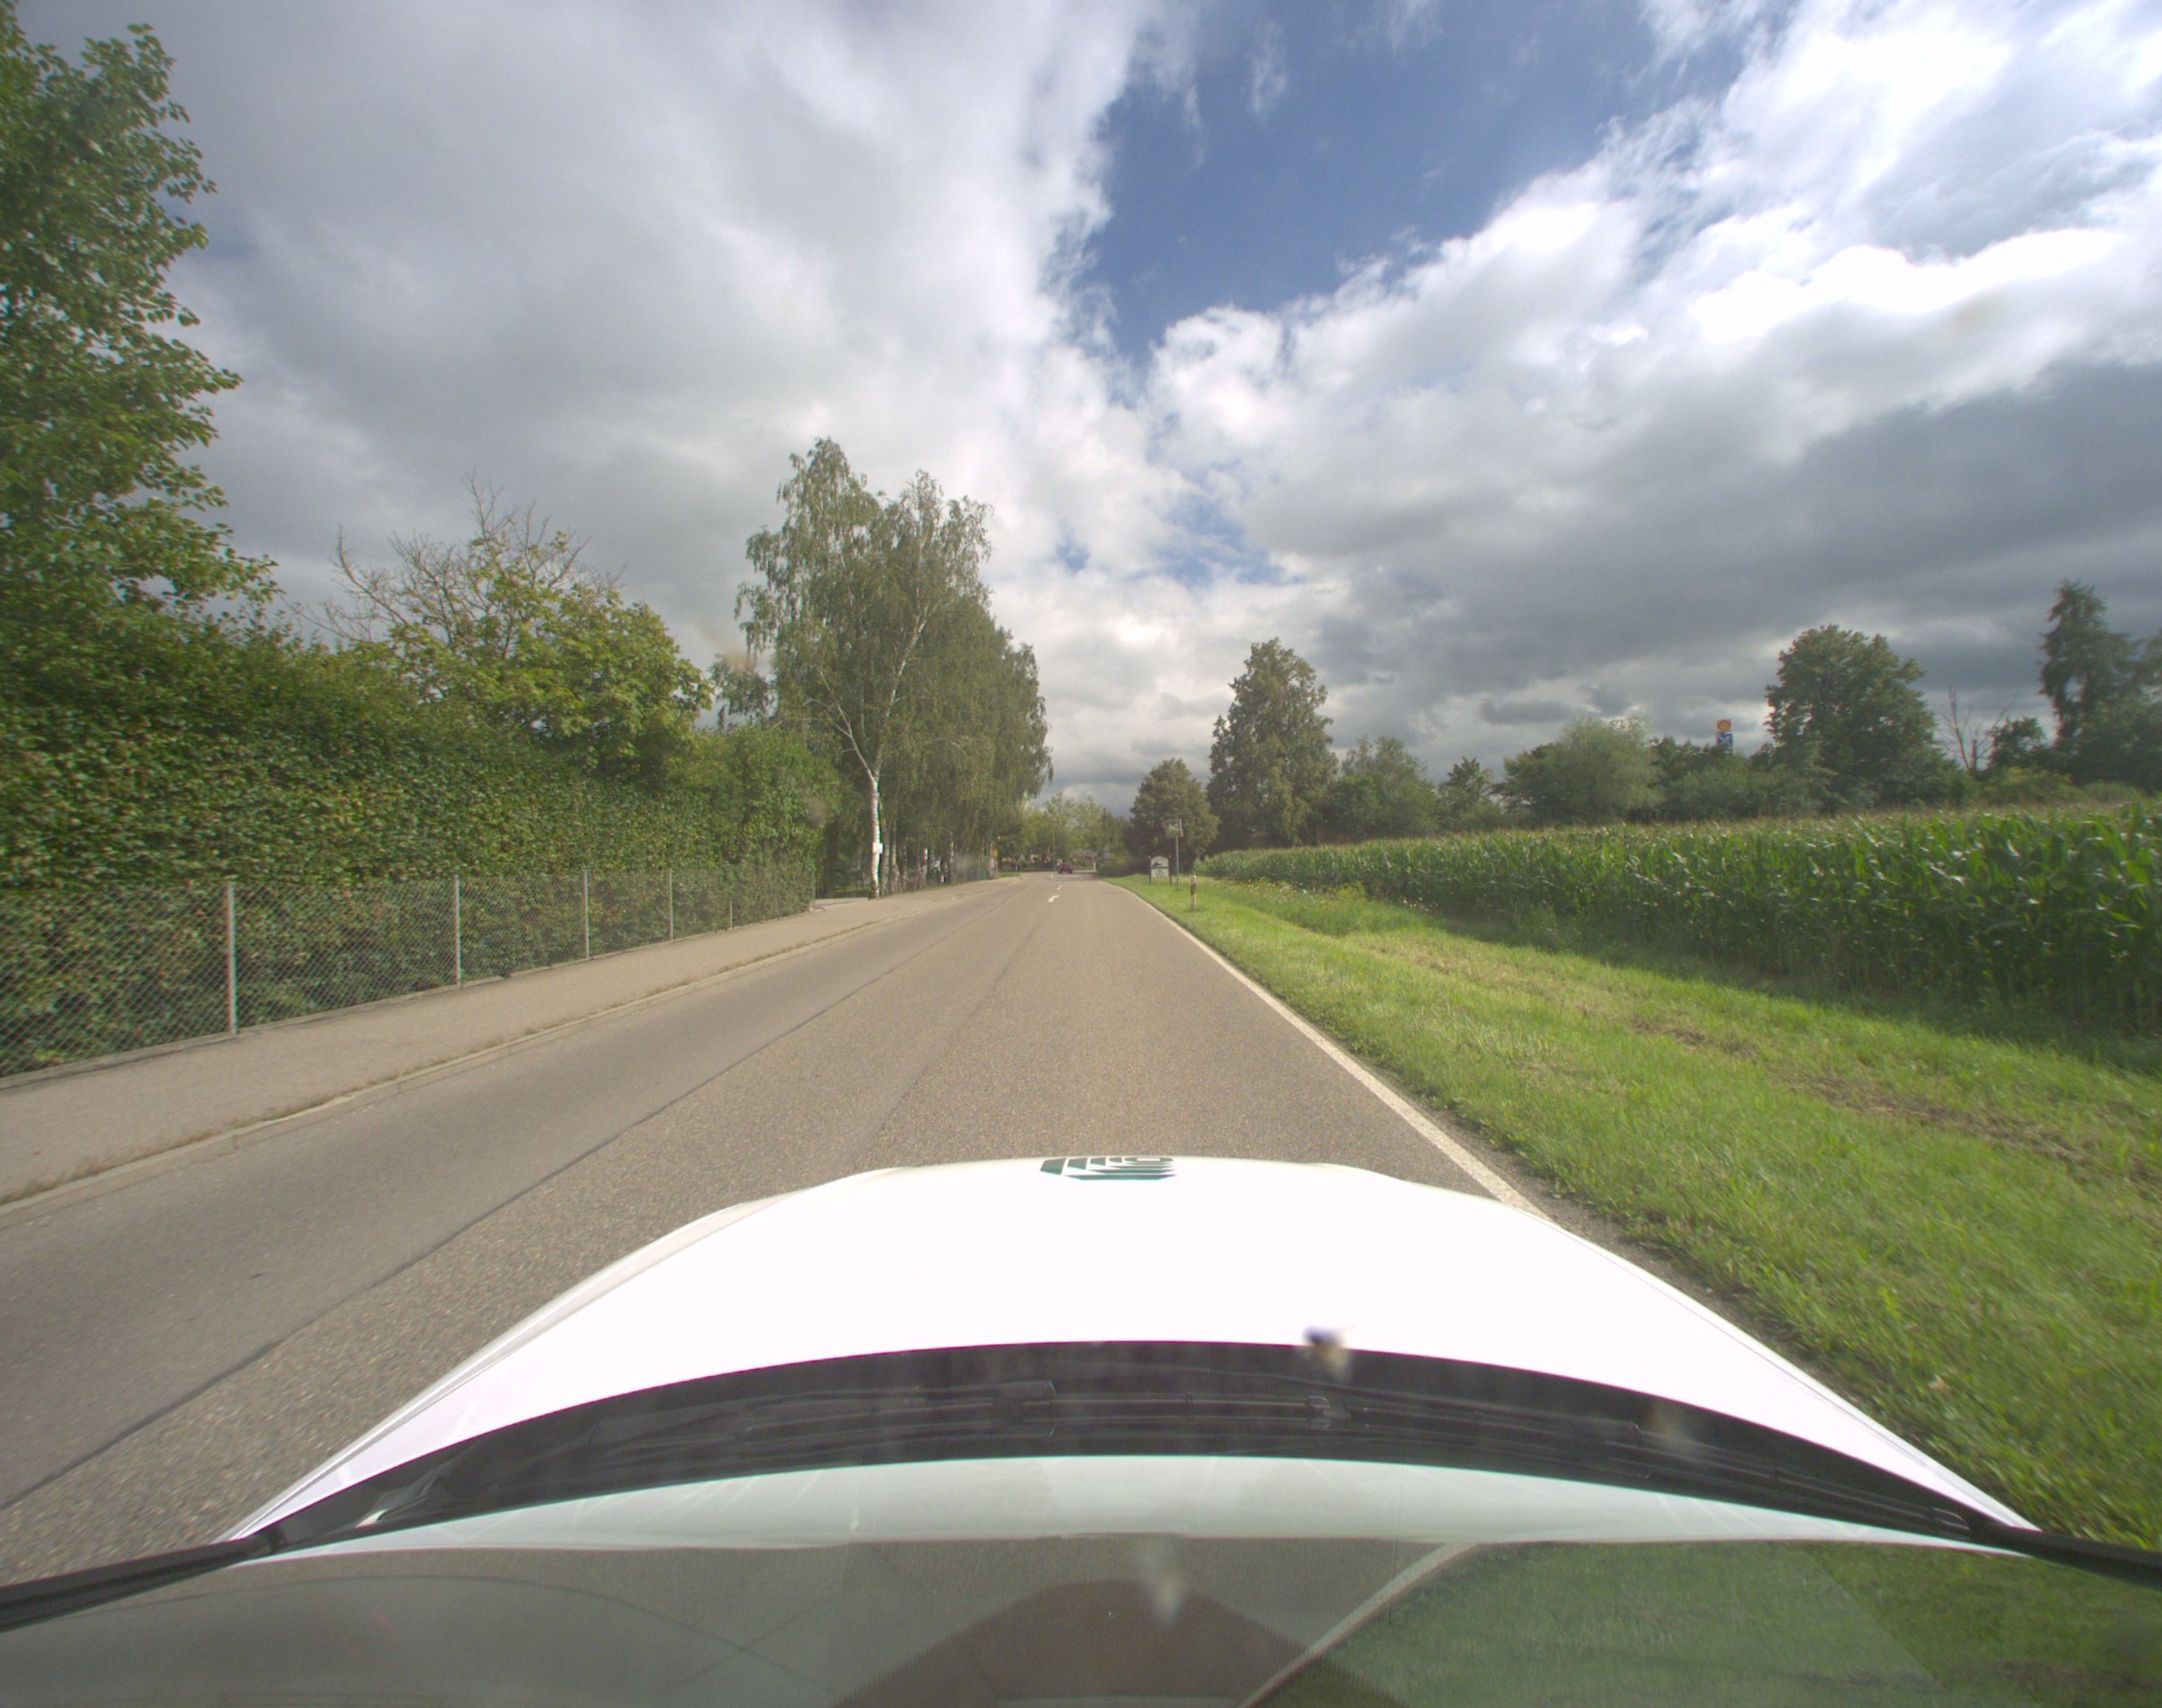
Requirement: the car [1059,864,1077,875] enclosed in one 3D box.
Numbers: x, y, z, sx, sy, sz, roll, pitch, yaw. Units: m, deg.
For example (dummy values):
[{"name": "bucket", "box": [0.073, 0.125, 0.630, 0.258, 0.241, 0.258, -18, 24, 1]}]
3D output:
[{"name": "car", "box": [-2.022, 2.336, 121.148, 1.994, 1.585, 3.985, -1, 0, -11]}]
